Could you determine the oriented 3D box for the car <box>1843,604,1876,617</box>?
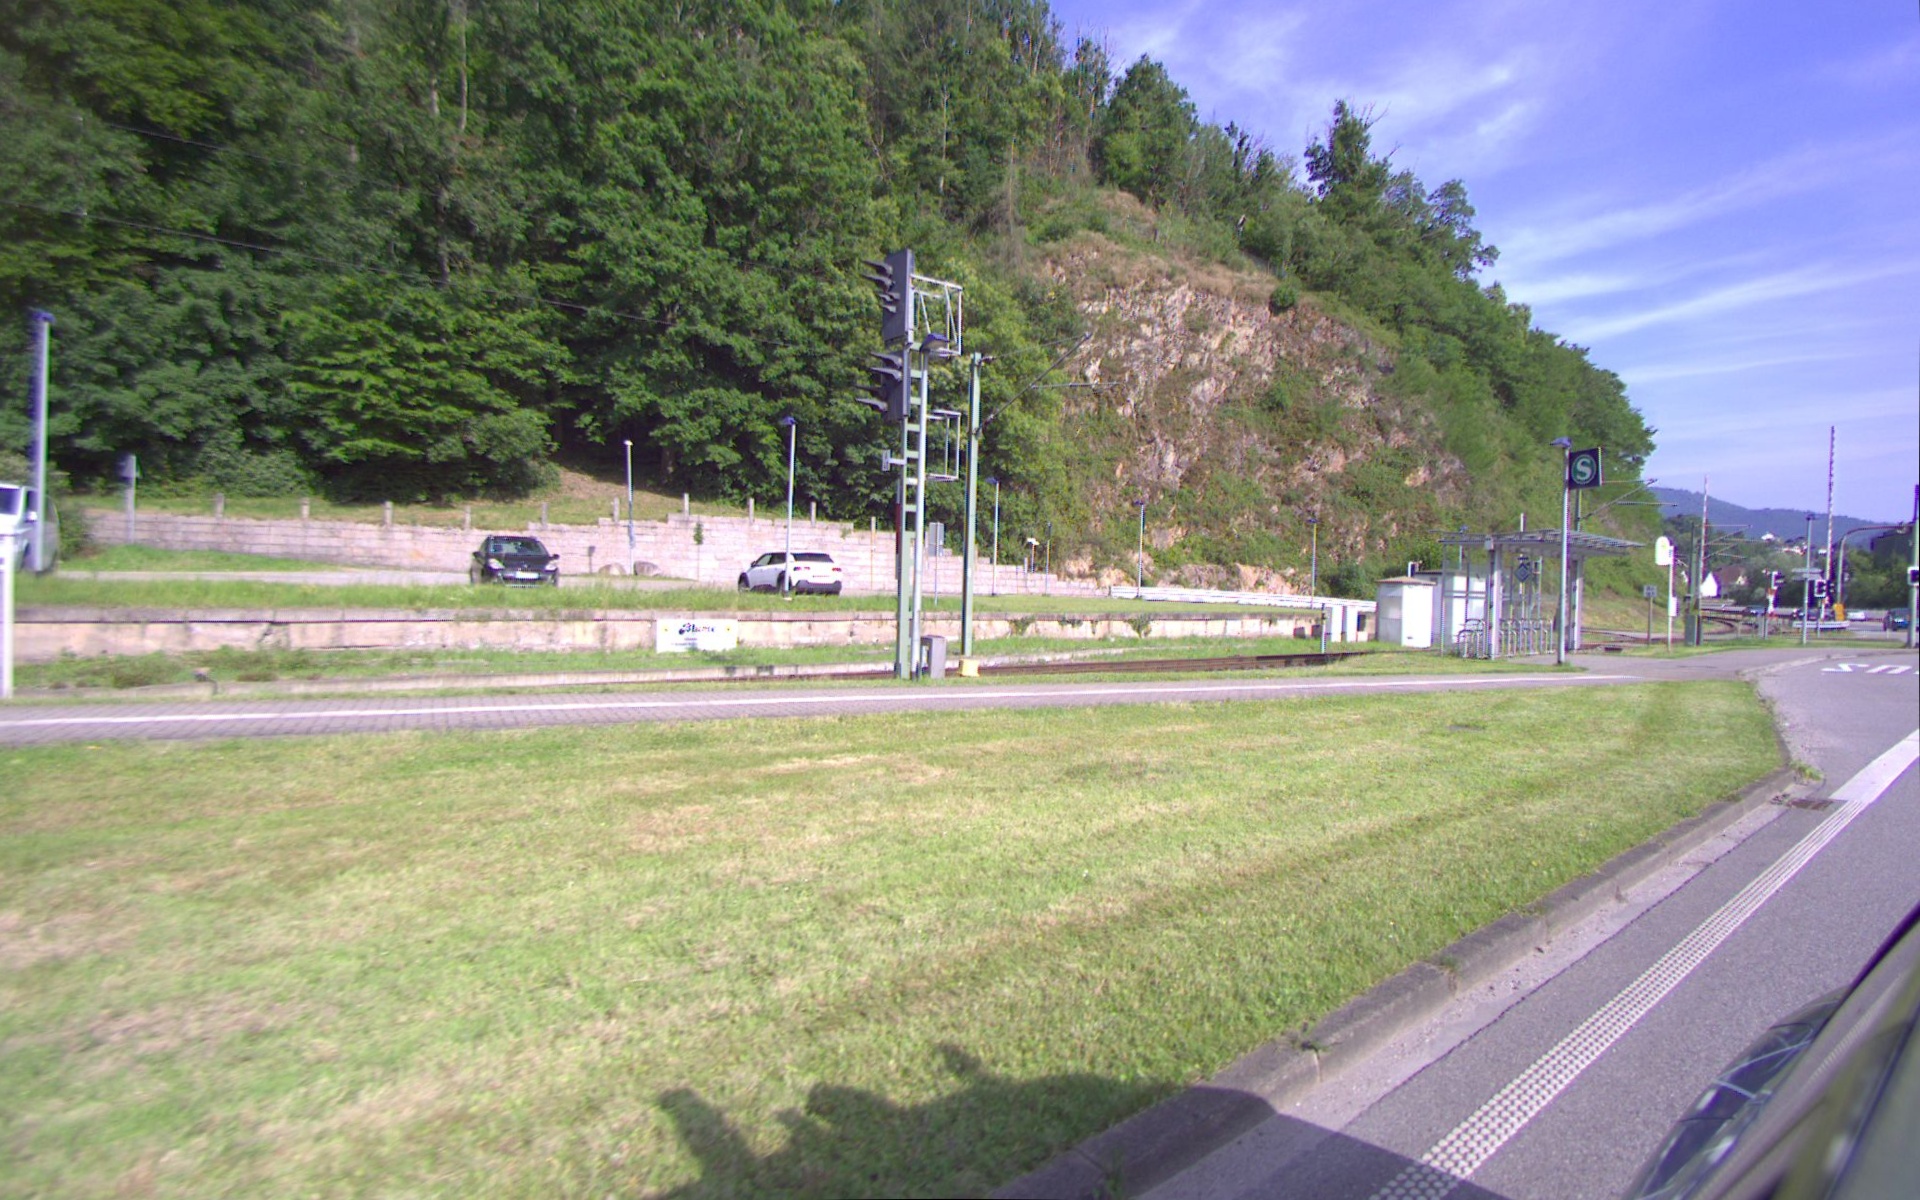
[{"bbox_3d":[91.048,1.096,102.472,1.637,1.247,4.049,1,0,30],"label":"car"}]

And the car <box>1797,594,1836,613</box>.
[{"bbox_3d":[82.278,0.328,97.262,1.982,1.816,3.960,1,1,28],"label":"car"}]

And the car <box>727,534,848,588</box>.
[{"bbox_3d":[-5.061,-1.086,29.247,1.776,1.415,4.108,1,1,-36],"label":"car"}]

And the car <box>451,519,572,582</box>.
[{"bbox_3d":[-11.017,-1.146,24.682,1.797,1.360,4.278,1,1,-36],"label":"car"}]

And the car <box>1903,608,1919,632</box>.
[{"bbox_3d":[64.091,1.345,67.348,1.762,1.478,3.524,4,3,40],"label":"car"}]

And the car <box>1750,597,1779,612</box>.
[{"bbox_3d":[92.733,0.492,116.647,1.861,1.478,3.693,3,3,28],"label":"car"}]

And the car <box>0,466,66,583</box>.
[{"bbox_3d":[-18.290,-1.344,18.775,2.101,1.968,4.966,1,1,-36],"label":"car"}]
